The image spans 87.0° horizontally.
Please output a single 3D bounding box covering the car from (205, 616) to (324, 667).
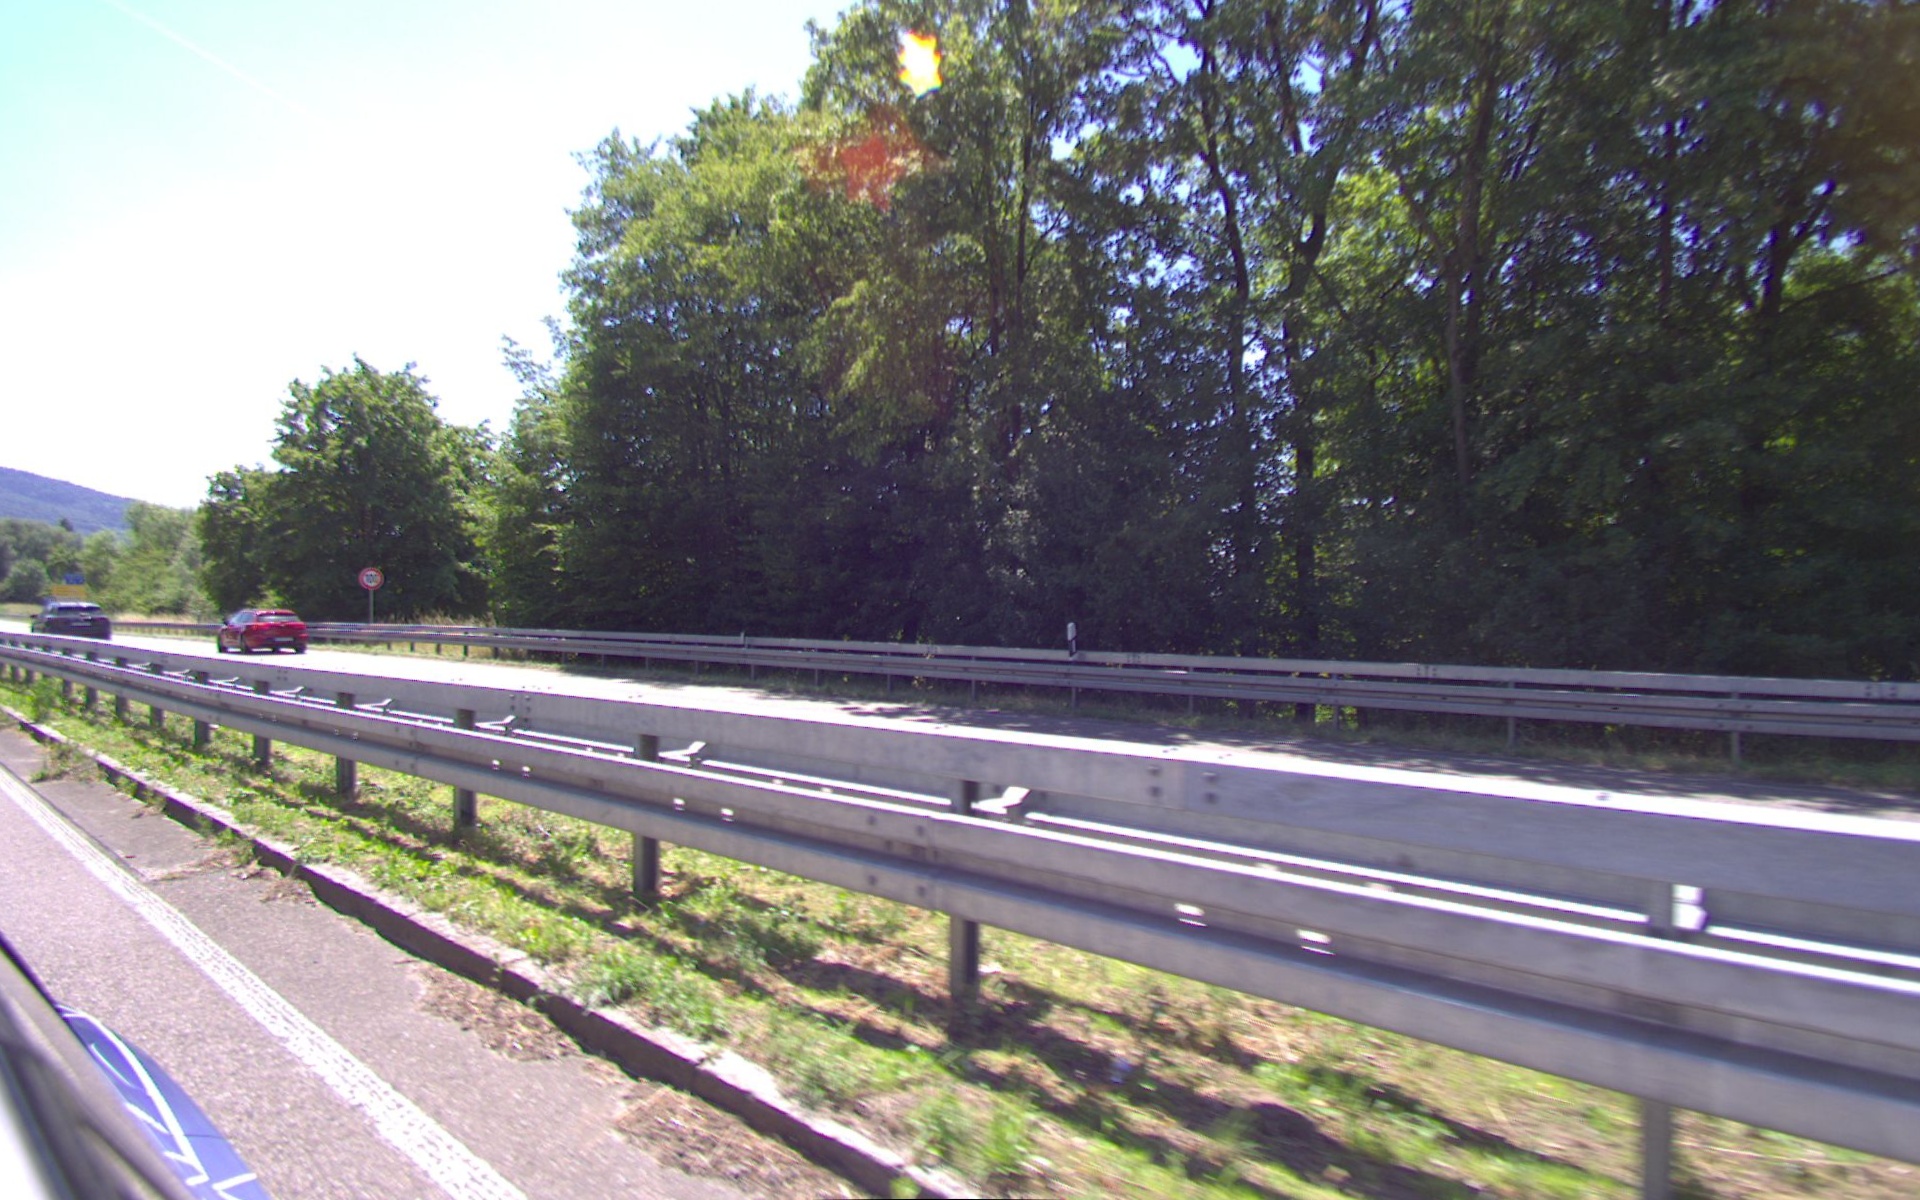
[{"bbox_3d":[-23.123,1.315,33.553,5.441,1.505,1.973,-1,0,41],"label":"car"}]

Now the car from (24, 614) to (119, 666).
[{"bbox_3d":[-31.715,1.371,36.084,4.387,1.674,1.973,-1,0,41],"label":"car"}]
